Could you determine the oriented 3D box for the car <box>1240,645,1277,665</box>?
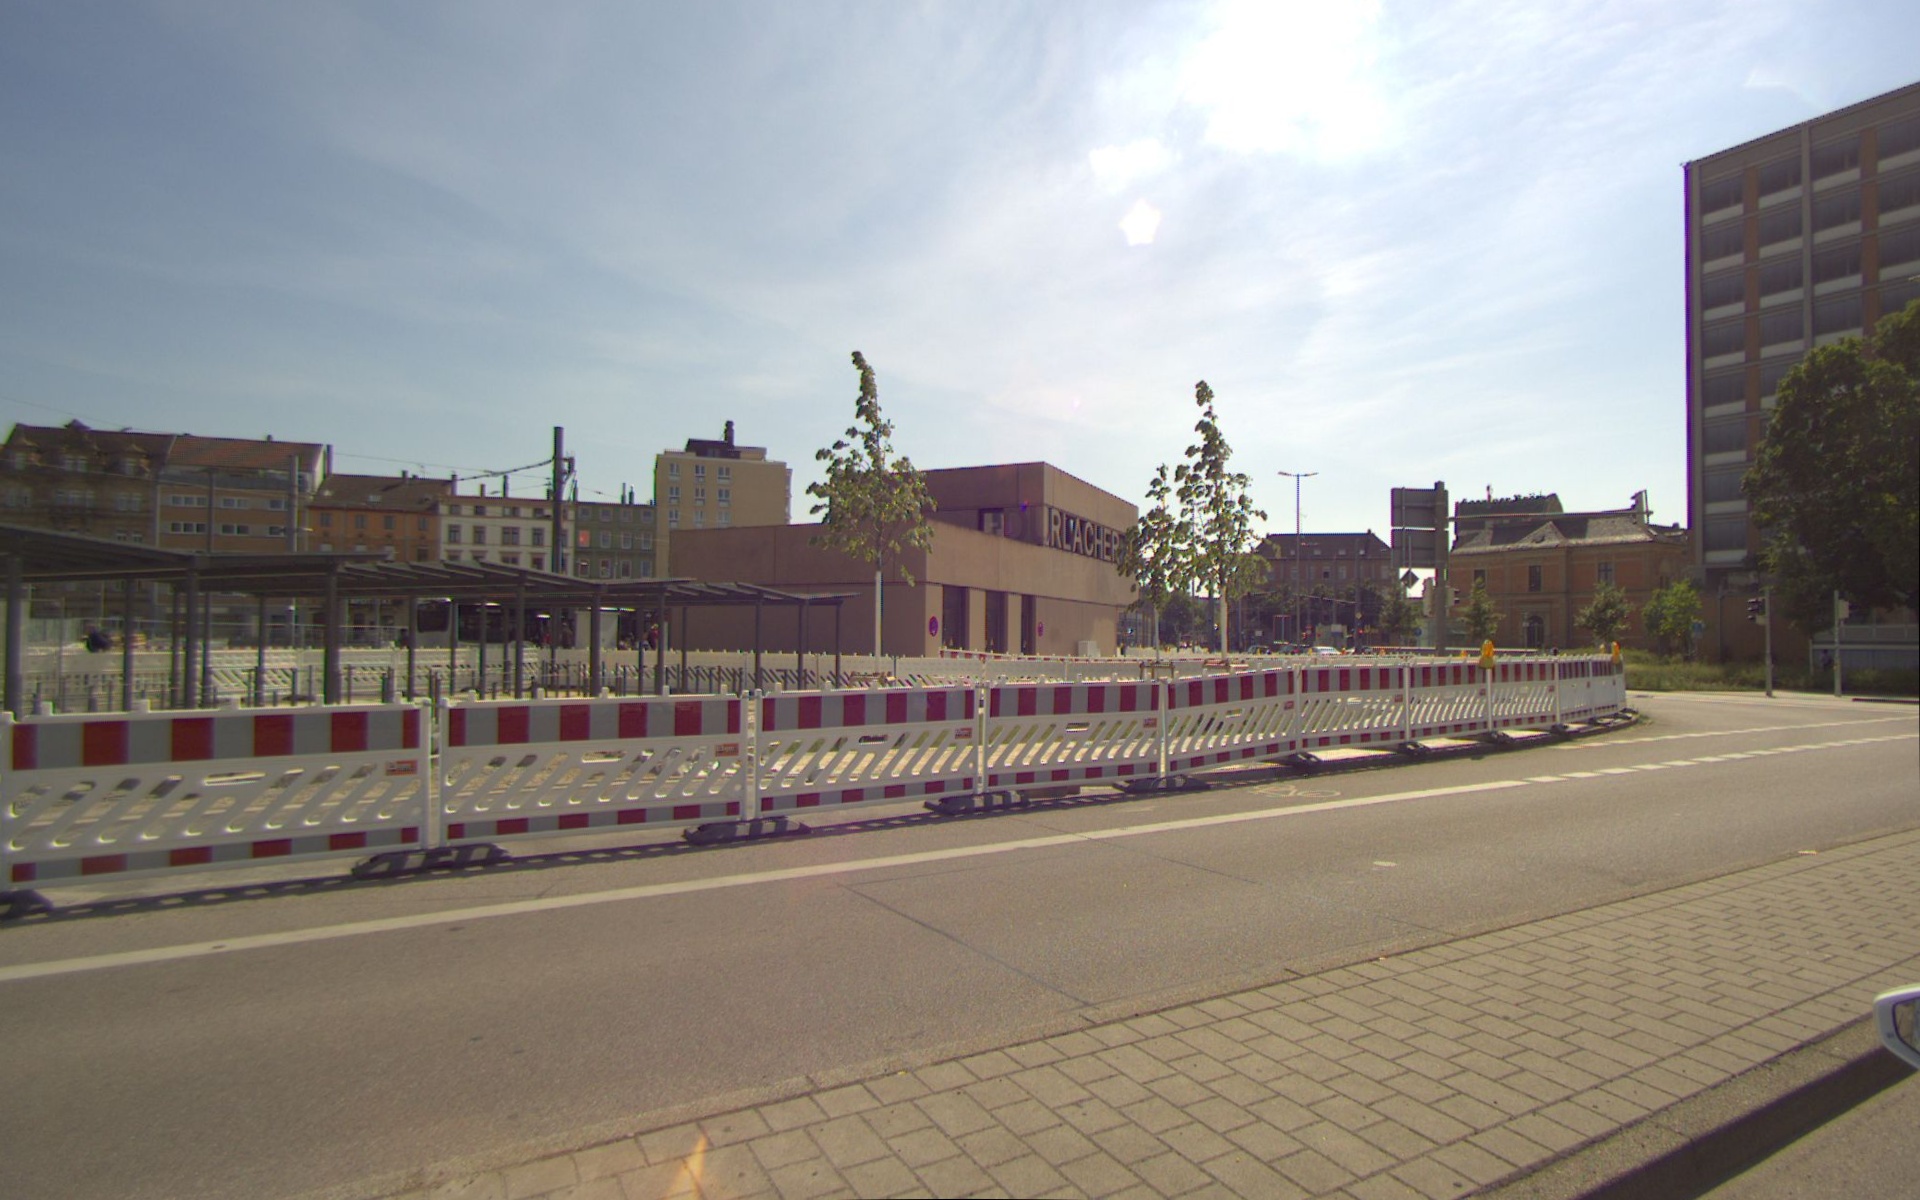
[{"bbox_3d":[23.795,4.366,80.225,1.764,1.530,4.001,1,-2,1],"label":"car"}]

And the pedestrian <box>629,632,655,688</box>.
[{"bbox_3d":[-9.123,1.720,28.805,0.415,1.585,0.558,-1,-2,23],"label":"pedestrian"}]

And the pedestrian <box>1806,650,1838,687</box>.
[{"bbox_3d":[41.104,3.251,47.897,0.857,1.748,0.799,1,-2,-7],"label":"pedestrian"}]

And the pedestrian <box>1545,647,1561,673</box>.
[{"bbox_3d":[39.794,4.004,67.457,0.637,1.683,0.650,2,0,-3],"label":"pedestrian"}]

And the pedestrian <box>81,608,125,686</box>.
[{"bbox_3d":[-22.949,1.261,26.891,0.807,2.040,0.684,-1,-3,35],"label":"pedestrian"}]

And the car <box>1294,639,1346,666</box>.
[{"bbox_3d":[26.045,3.794,72.775,1.963,1.839,3.996,1,-2,-7],"label":"car"}]
